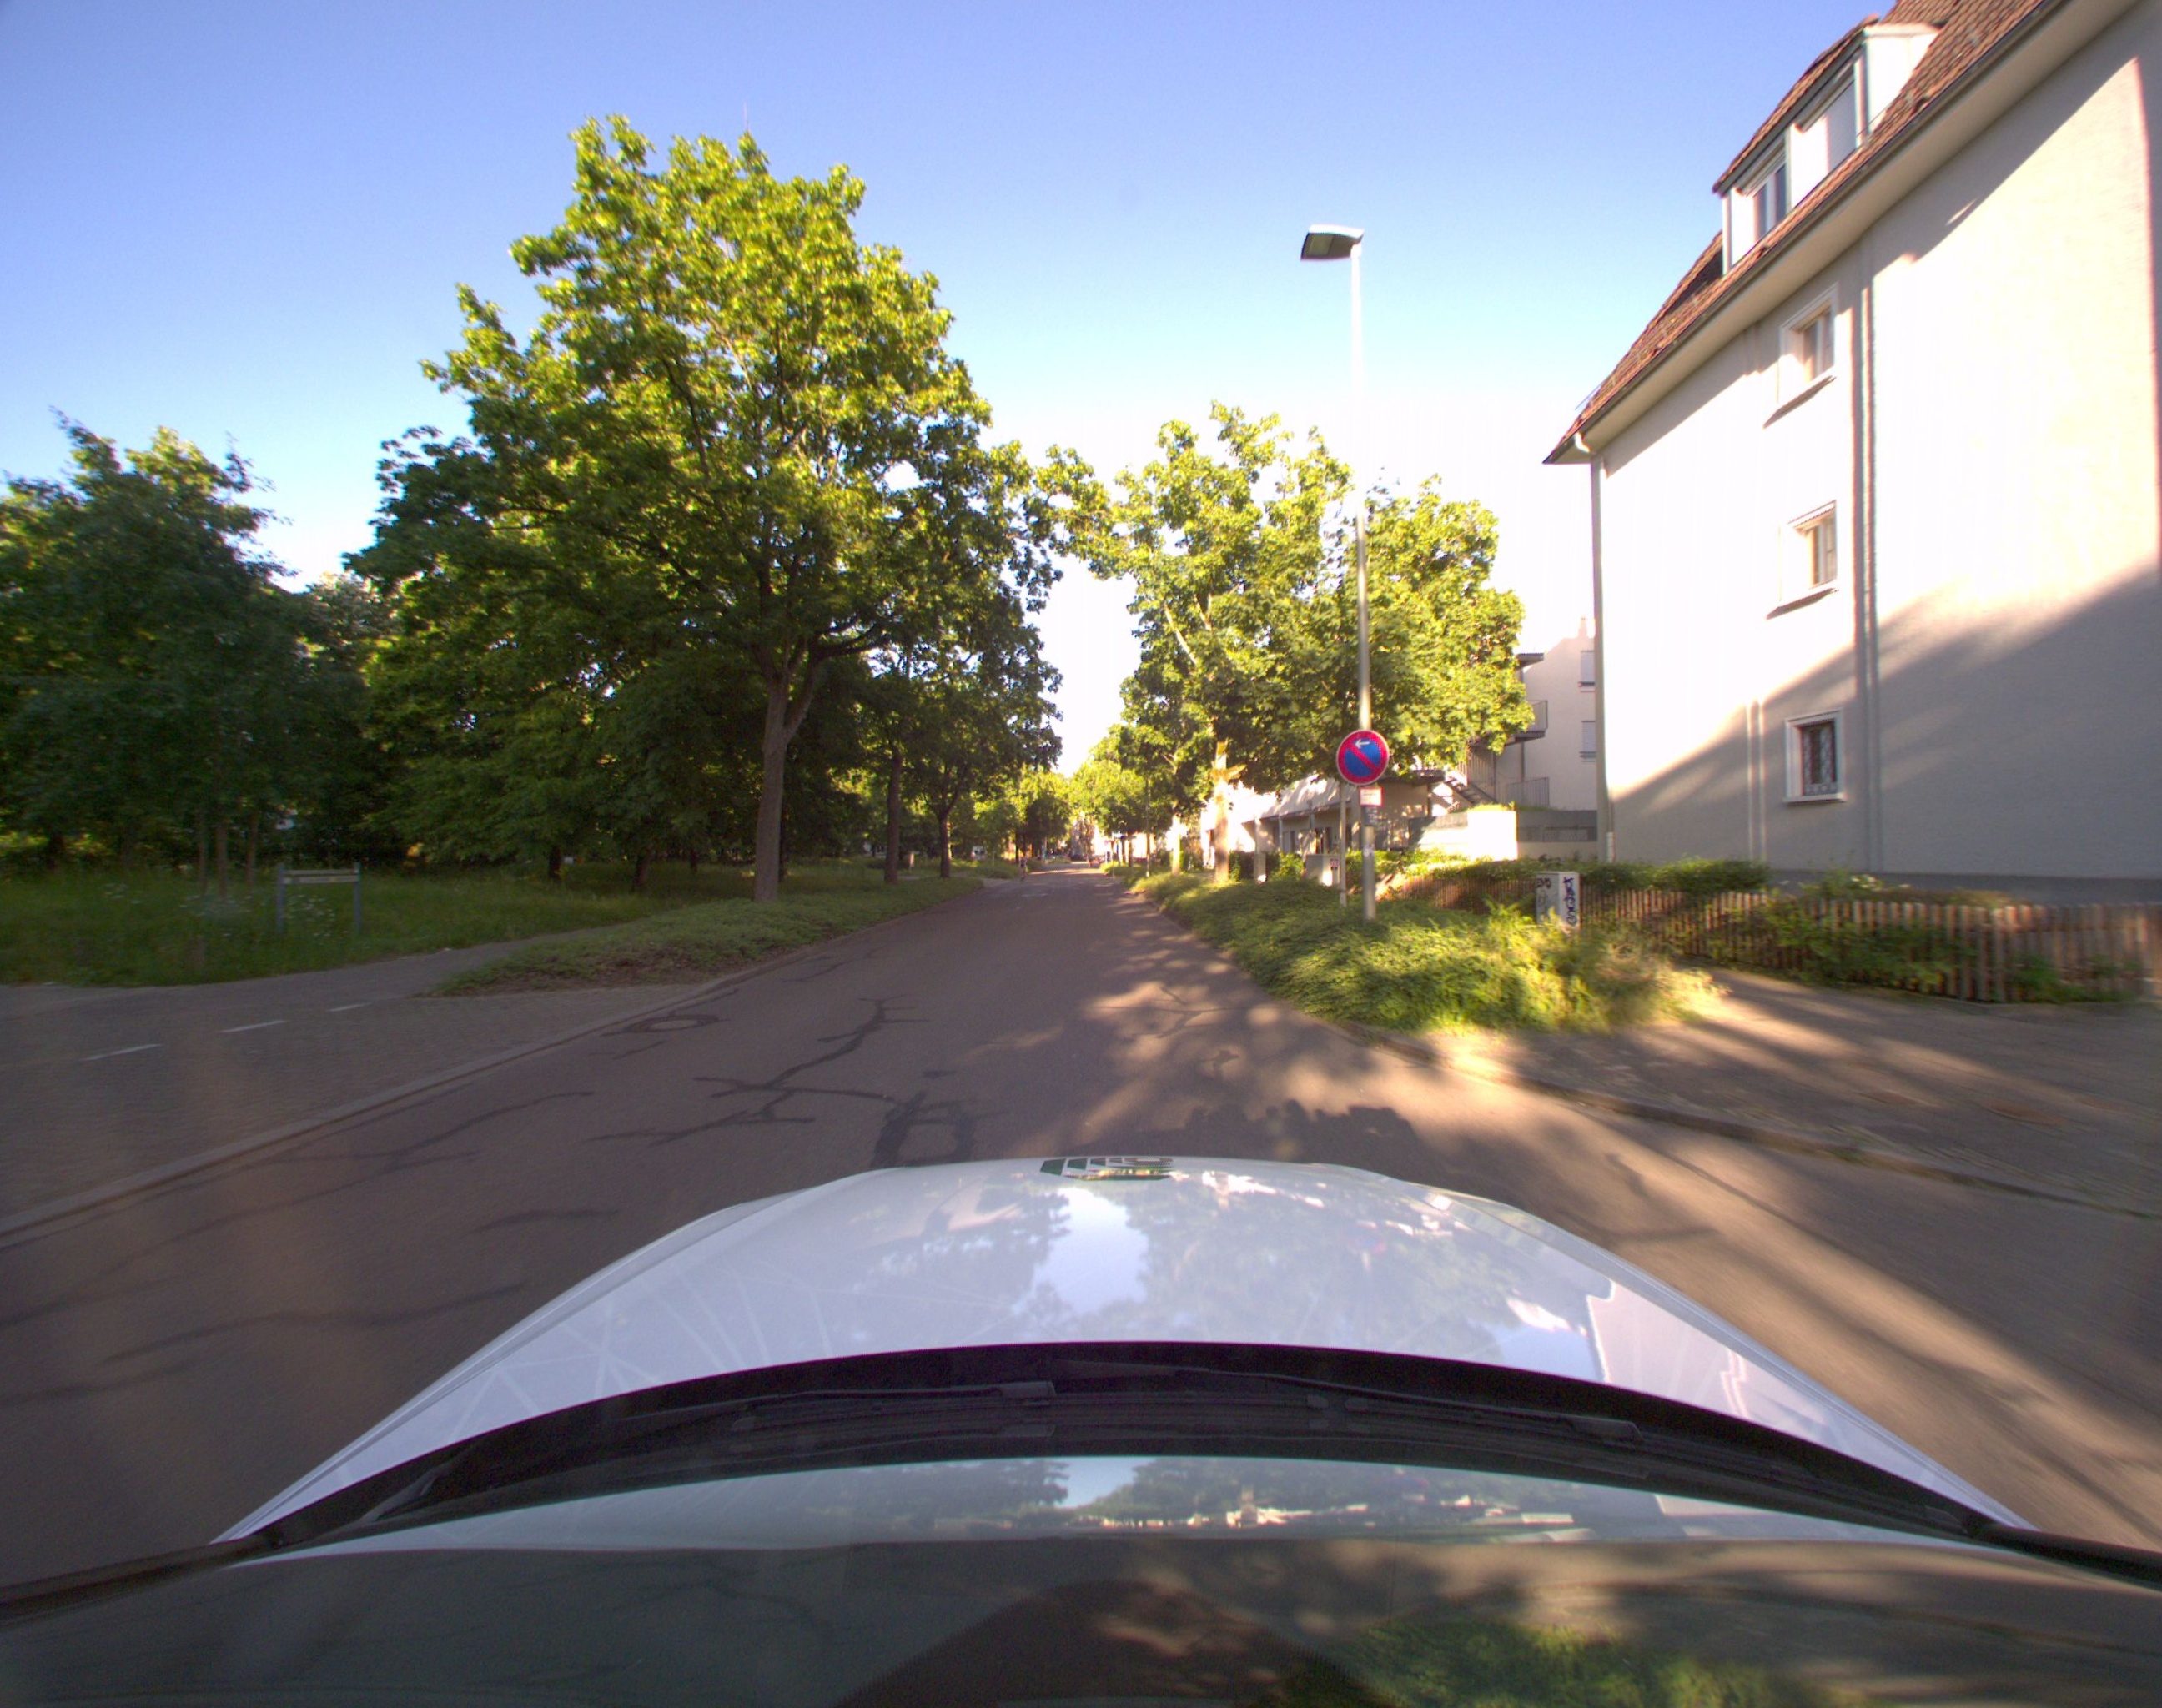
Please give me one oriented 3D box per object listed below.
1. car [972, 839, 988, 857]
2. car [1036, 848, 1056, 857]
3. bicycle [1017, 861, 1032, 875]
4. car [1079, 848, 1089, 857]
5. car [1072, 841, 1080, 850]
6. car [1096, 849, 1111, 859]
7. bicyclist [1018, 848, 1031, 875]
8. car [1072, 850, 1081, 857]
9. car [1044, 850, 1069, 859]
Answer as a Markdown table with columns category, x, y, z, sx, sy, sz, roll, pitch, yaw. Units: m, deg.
| category | x | y | z | sx | sy | sz | roll | pitch | yaw |
| --- | --- | --- | --- | --- | --- | --- | --- | --- | --- |
| car | -14.113 | -0.863 | 113.756 | 1.993 | 2.508 | 3.988 | 0 | 0 | -9 |
| car | -6.371 | -0.287 | 147.364 | 3.585 | 1.510 | 1.496 | 0 | 0 | -9 |
| bicycle | -3.356 | 0.811 | 48.788 | 0.636 | 0.742 | 2.127 | -3 | 0 | 3 |
| car | 0.622 | -0.332 | 165.963 | 1.807 | 1.925 | 3.995 | 0 | 0 | -4 |
| car | -1.204 | -2.061 | 190.942 | 1.807 | 2.050 | 3.995 | 0 | 0 | -4 |
| car | 3.759 | -0.008 | 137.471 | 1.810 | 1.501 | 3.990 | -1 | 0 | -8 |
| bicyclist | -3.372 | 0.422 | 48.761 | 0.630 | 1.555 | 1.003 | -3 | 0 | 3 |
| car | -1.081 | -0.151 | 180.734 | 1.807 | 1.501 | 3.995 | 0 | 0 | -4 |
| car | -4.145 | 0.045 | 134.950 | 3.985 | 1.501 | 1.812 | 0 | 0 | -9 |
